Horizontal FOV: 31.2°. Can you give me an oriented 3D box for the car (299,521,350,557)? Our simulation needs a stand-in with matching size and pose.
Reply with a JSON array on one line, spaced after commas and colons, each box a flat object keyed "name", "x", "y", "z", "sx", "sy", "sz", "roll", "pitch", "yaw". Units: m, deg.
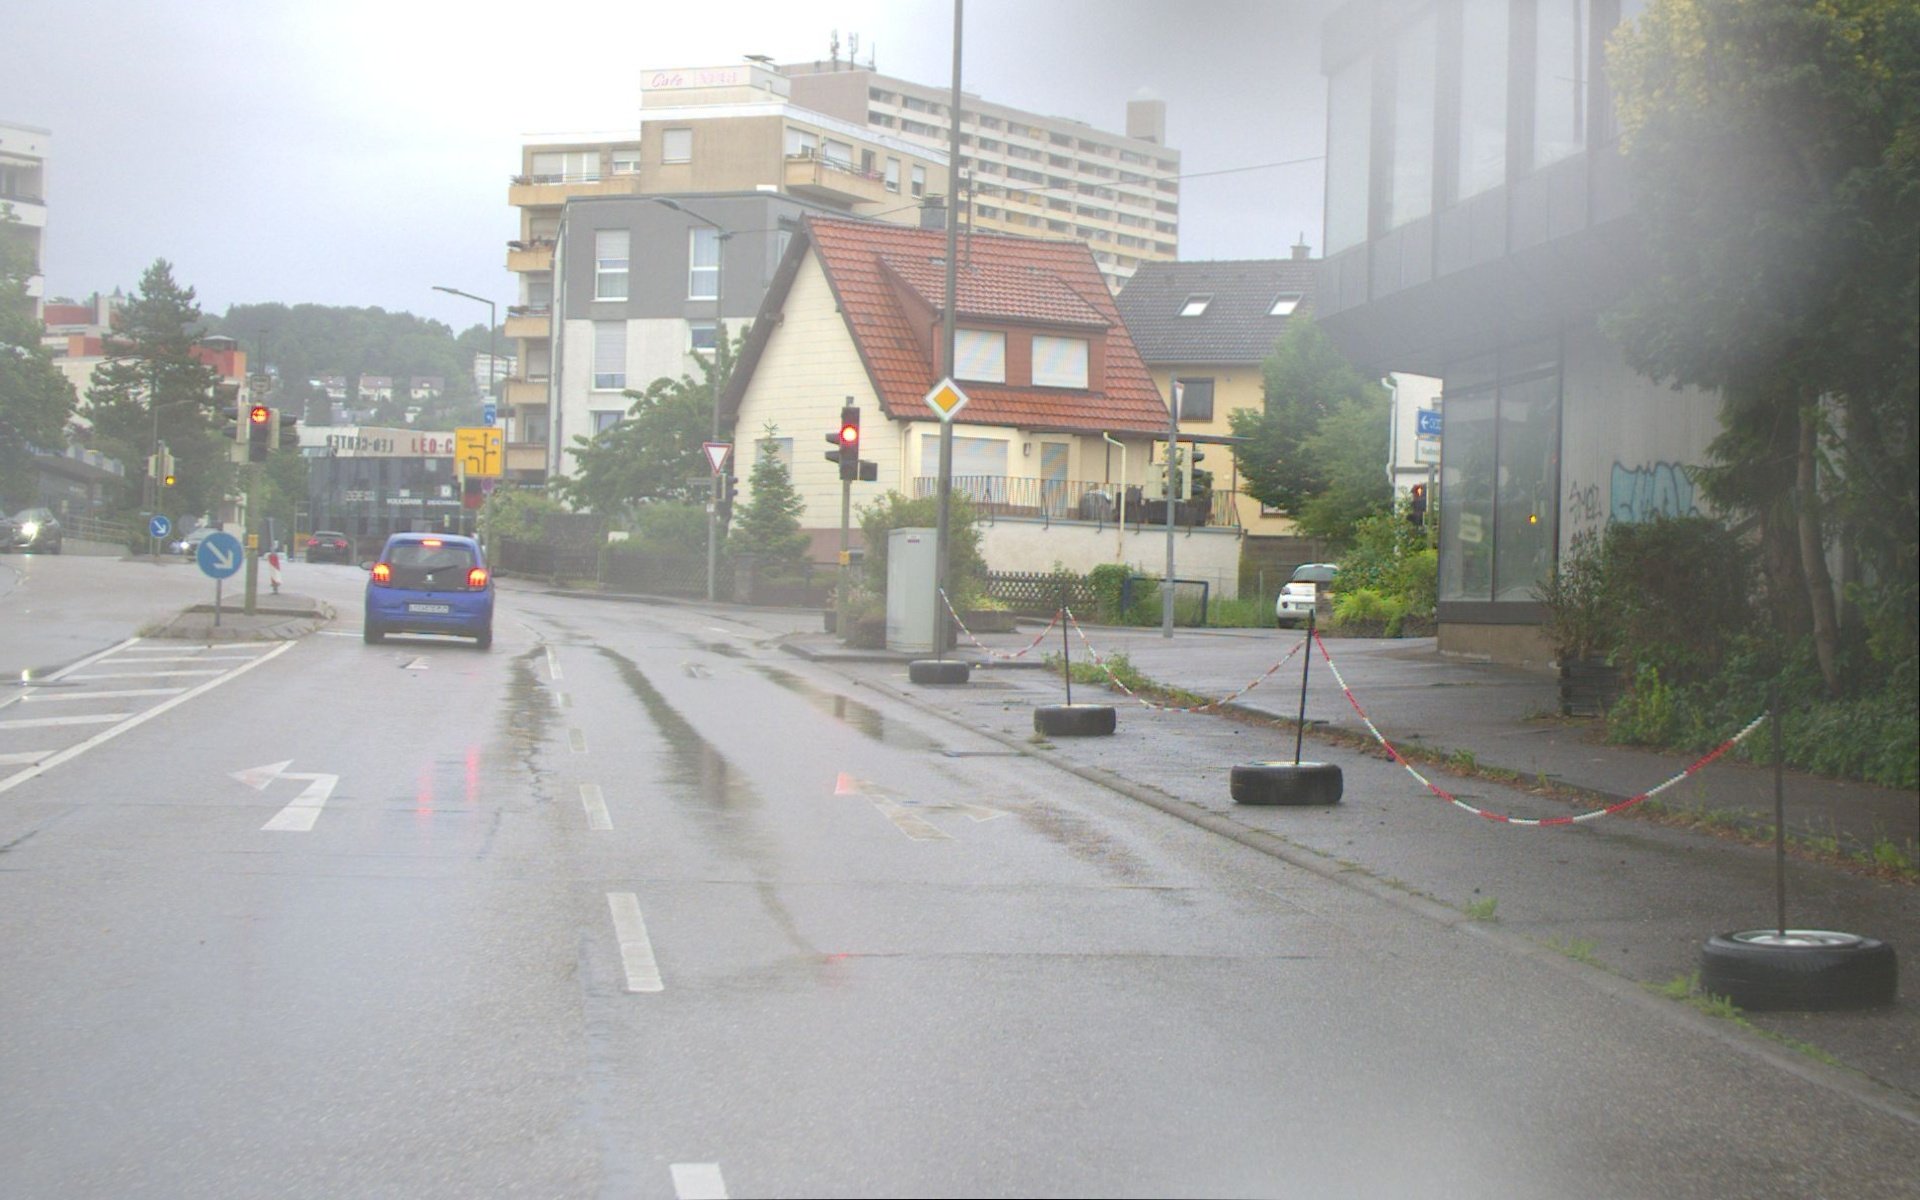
[{"name": "car", "x": -27.095, "y": -2.602, "z": 146.604, "sx": 1.812, "sy": 1.481, "sz": 4.190, "roll": 1, "pitch": 1, "yaw": -7}]

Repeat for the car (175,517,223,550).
[{"name": "car", "x": -35.042, "y": -3.053, "z": 158.339, "sx": 1.778, "sy": 1.415, "sz": 3.832, "roll": 2, "pitch": 1, "yaw": -7}]

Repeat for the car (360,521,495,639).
[{"name": "car", "x": -6.903, "y": -0.280, "z": 44.782, "sx": 1.578, "sy": 1.406, "sz": 3.271, "roll": 3, "pitch": 1, "yaw": -7}]

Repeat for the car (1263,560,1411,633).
[{"name": "car", "x": 8.377, "y": -0.062, "z": 76.182, "sx": 1.742, "sy": 1.509, "sz": 3.993, "roll": 3, "pitch": 1, "yaw": 30}]

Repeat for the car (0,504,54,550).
[{"name": "car", "x": -29.540, "y": -2.299, "z": 107.642, "sx": 1.714, "sy": 1.382, "sz": 4.021, "roll": 2, "pitch": 1, "yaw": -7}]
